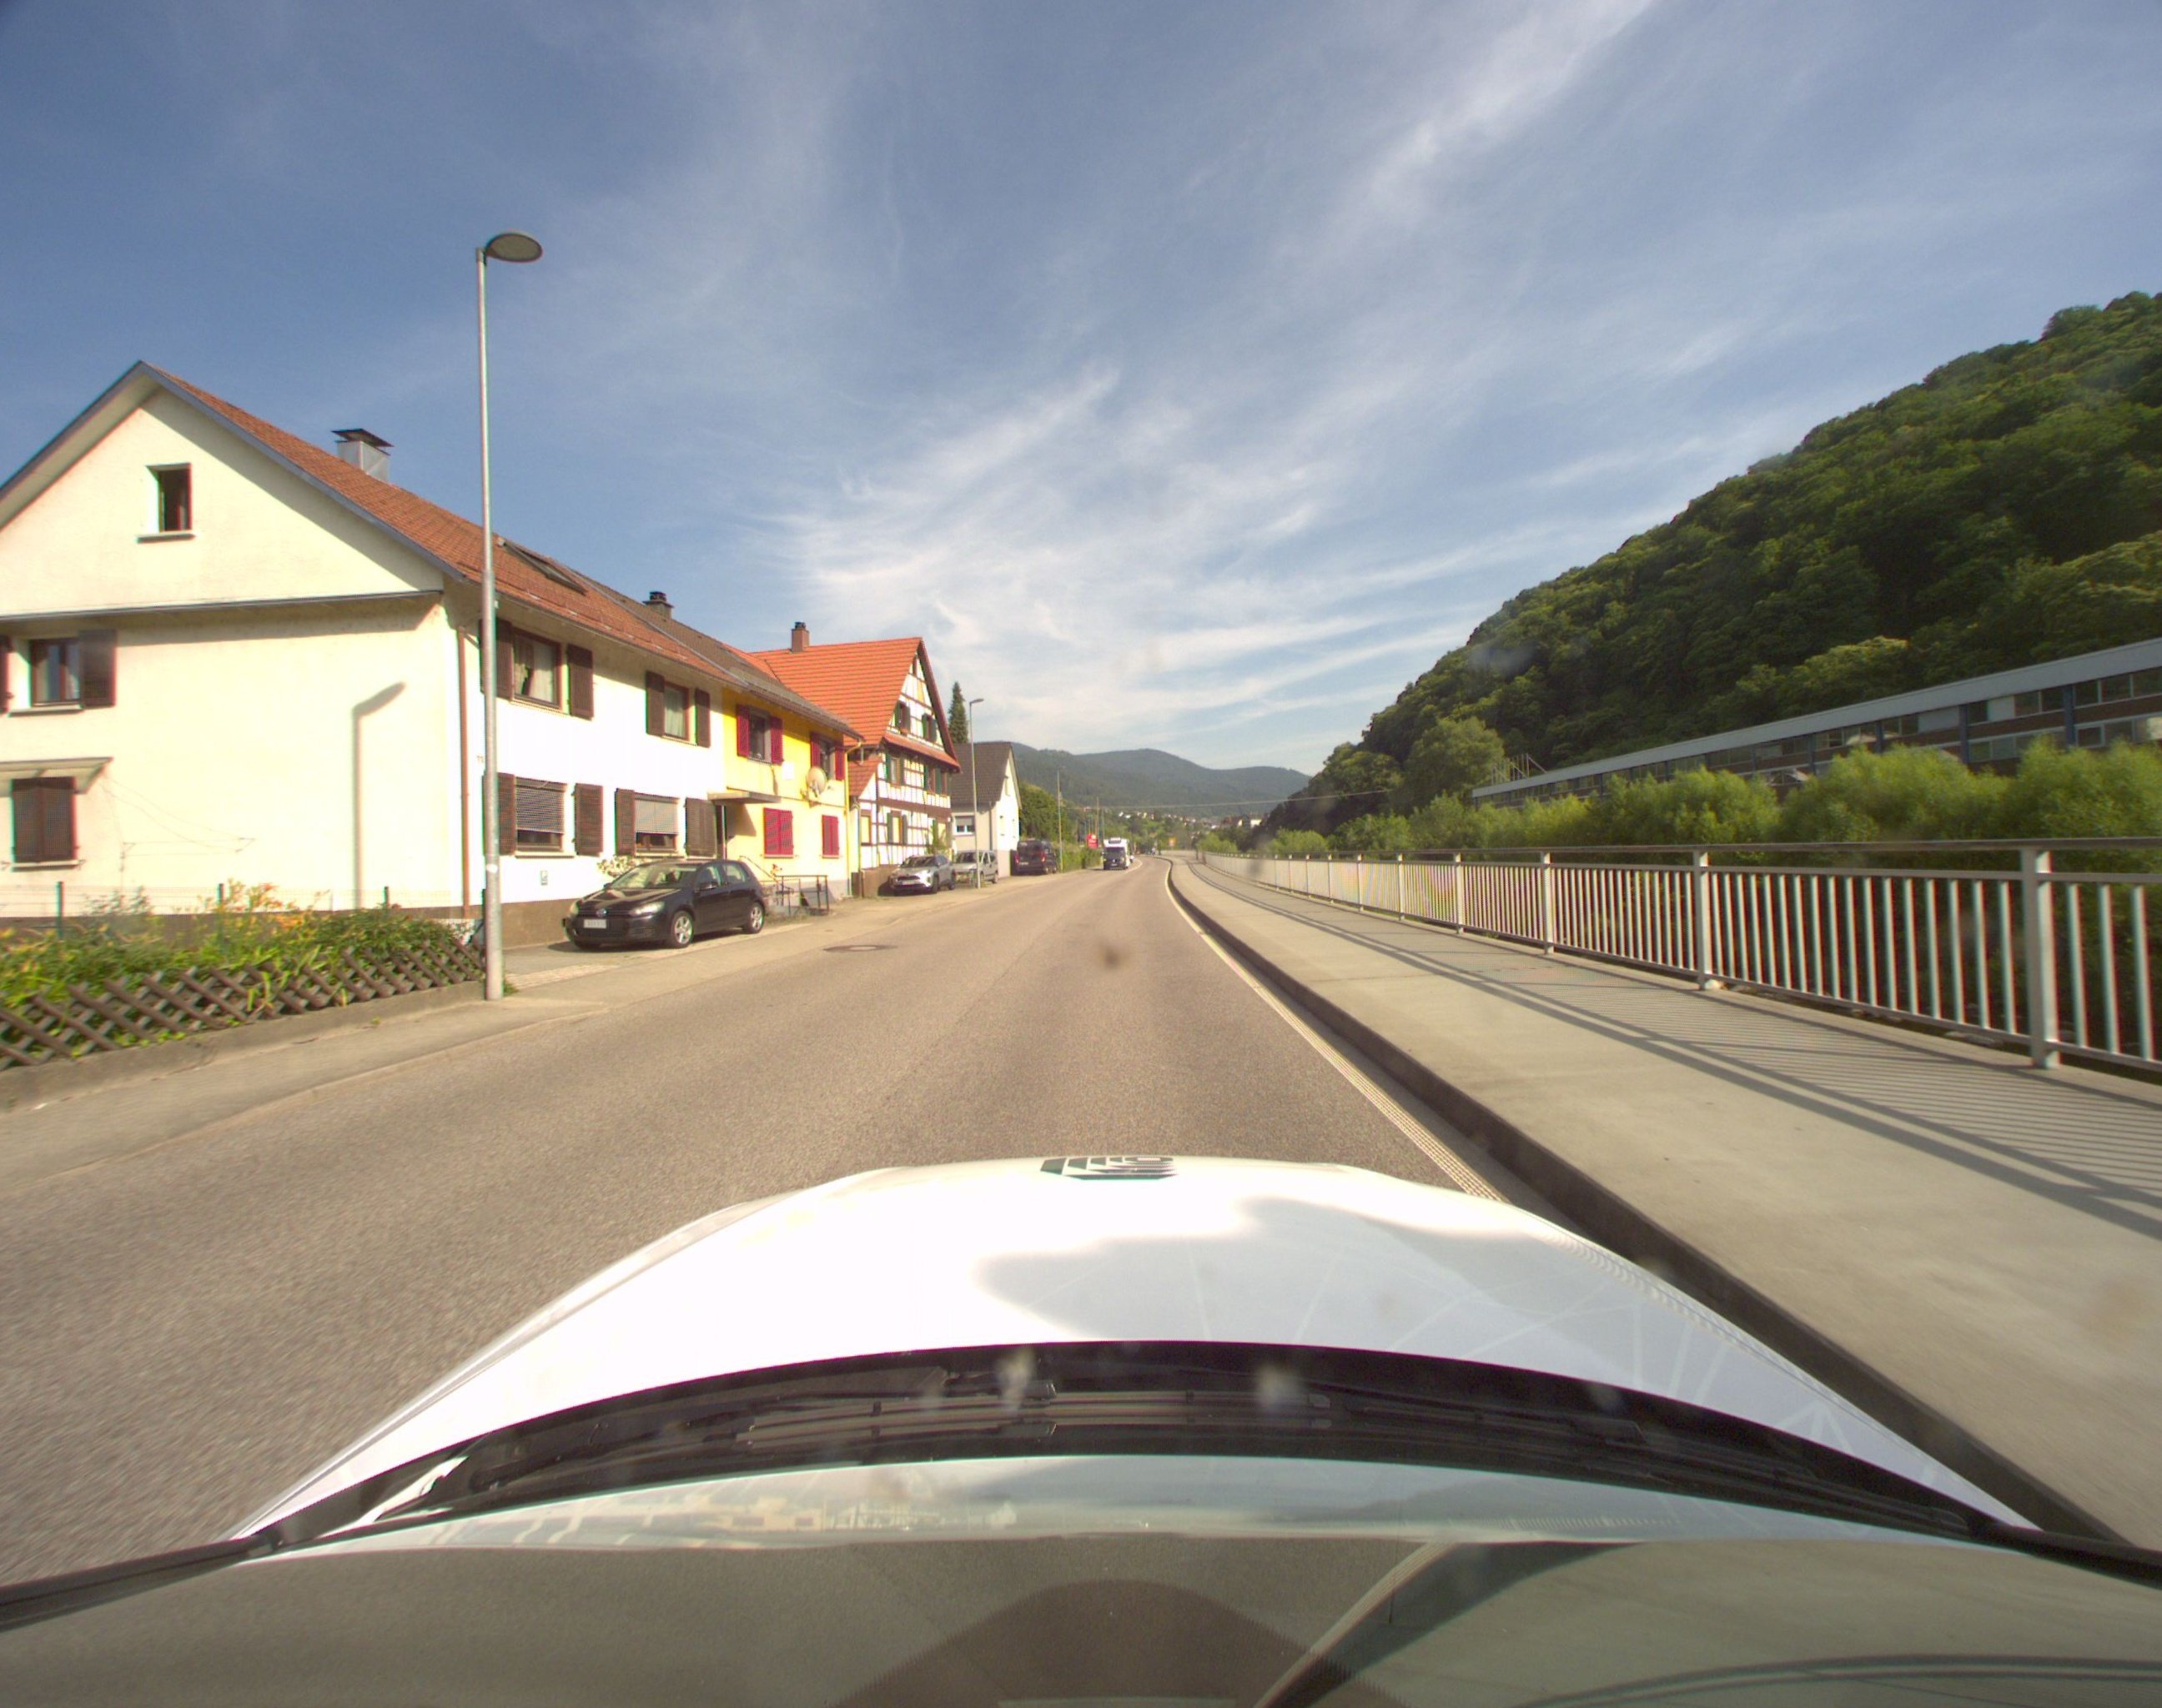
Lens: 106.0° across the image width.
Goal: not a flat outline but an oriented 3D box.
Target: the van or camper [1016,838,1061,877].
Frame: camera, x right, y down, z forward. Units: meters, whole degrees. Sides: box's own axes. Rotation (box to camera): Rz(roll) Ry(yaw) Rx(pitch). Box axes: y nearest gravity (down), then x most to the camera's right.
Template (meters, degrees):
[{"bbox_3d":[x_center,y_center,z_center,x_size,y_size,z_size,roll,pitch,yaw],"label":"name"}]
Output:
[{"bbox_3d":[-2.994,0.237,58.596,2.136,2.555,5.913,-2,0,7],"label":"van or camper"}]

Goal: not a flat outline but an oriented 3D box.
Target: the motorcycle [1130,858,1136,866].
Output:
[{"bbox_3d":[6.875,1.064,107.408,0.650,1.068,2.187,-2,0,9],"label":"motorcycle"}]

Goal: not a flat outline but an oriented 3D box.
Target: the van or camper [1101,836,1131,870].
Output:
[{"bbox_3d":[3.334,-0.097,75.860,2.183,2.938,7.141,-1,0,7],"label":"van or camper"}]

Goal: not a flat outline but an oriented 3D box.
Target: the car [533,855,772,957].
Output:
[{"bbox_3d":[-7.251,0.777,14.358,1.877,1.519,4.237,0,0,1],"label":"car"}]

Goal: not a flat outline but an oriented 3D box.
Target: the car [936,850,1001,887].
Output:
[{"bbox_3d":[-5.364,0.684,39.541,1.889,1.664,4.279,-1,0,10],"label":"car"}]

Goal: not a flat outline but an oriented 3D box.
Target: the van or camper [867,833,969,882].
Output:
[{"bbox_3d":[-9.088,0.202,45.565,5.140,2.663,2.200,0,0,13],"label":"van or camper"}]

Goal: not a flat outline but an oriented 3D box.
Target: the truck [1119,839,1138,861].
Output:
[{"bbox_3d":[8.909,-0.679,153.600,2.570,3.931,11.303,-2,0,0],"label":"truck"}]

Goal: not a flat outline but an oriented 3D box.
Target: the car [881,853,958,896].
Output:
[{"bbox_3d":[-6.391,0.781,32.752,1.875,1.519,4.100,-3,0,5],"label":"car"}]

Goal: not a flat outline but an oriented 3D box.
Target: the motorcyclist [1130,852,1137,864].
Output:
[{"bbox_3d":[6.919,0.502,107.086,0.820,1.558,0.630,-2,-1,9],"label":"motorcyclist"}]
